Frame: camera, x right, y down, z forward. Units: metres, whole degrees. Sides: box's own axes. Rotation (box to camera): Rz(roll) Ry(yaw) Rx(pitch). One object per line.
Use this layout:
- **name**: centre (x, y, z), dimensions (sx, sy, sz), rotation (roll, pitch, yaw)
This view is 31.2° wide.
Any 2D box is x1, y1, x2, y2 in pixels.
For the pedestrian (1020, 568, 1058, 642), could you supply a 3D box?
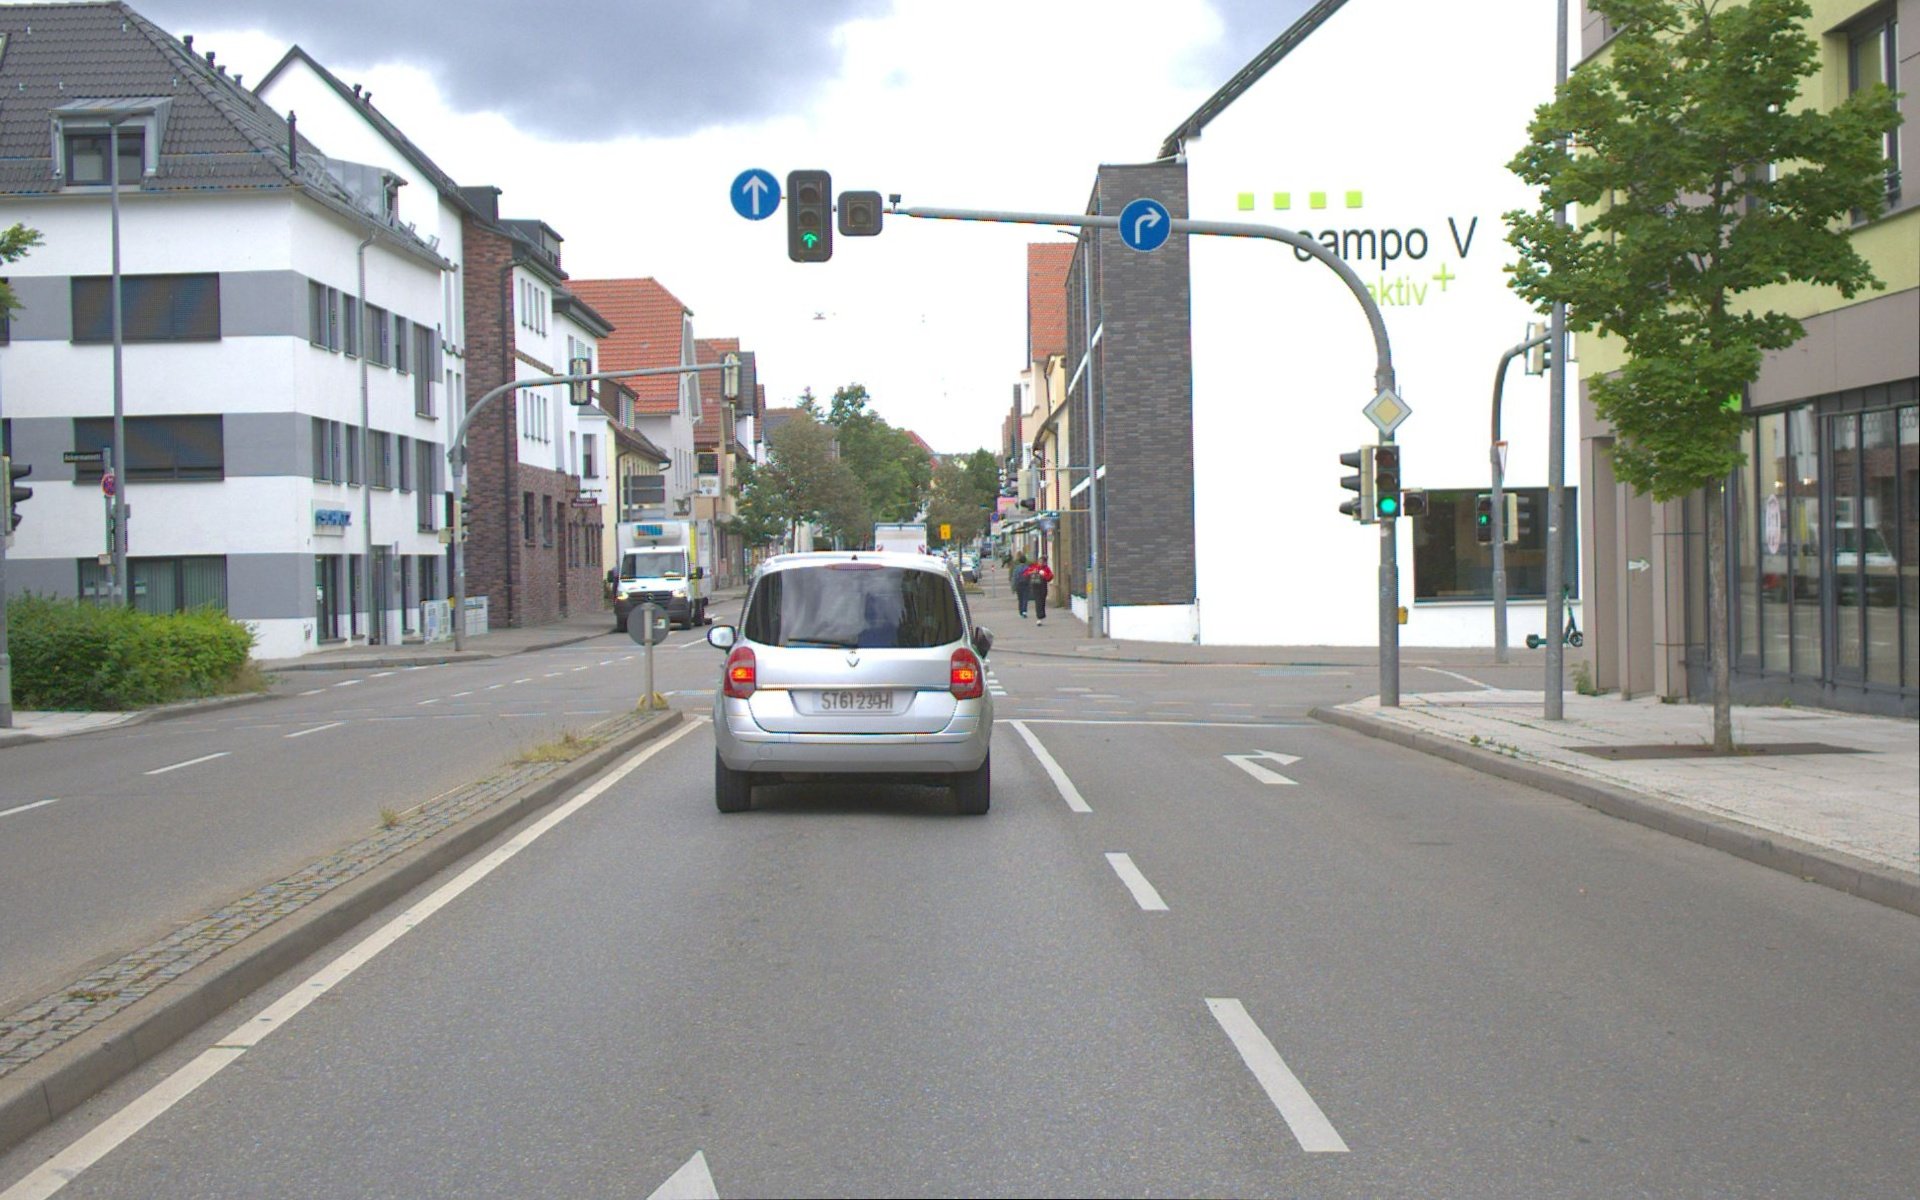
- **pedestrian**: centre (1.949, 0.120, 84.962), dimensions (0.807, 1.781, 0.861), rotation (-4, 1, 0)

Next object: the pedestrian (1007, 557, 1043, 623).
- **pedestrian**: centre (1.804, -0.286, 95.901), dimensions (0.889, 1.781, 0.785), rotation (-4, 1, 0)

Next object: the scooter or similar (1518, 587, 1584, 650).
- **scooter or similar**: centre (11.677, 0.367, 67.914), dimensions (1.230, 1.231, 0.406), rotation (1, 0, 0)

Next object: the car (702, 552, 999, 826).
- **car**: centre (-0.664, 0.494, 21.950), dimensions (1.706, 1.573, 4.000), rotation (1, 1, -1)

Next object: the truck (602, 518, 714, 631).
- **truck**: centre (-8.264, -0.719, 94.842), dimensions (2.435, 2.943, 8.365), rotation (0, 1, -1)

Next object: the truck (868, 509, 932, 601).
- **truck**: centre (-2.563, -1.947, 147.997), dimensions (2.595, 3.844, 6.849), rotation (-1, 1, 0)

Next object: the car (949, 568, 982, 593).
- **car**: centre (0.302, -1.106, 195.075), dimensions (1.812, 1.349, 4.000), rotation (-2, 1, 0)
